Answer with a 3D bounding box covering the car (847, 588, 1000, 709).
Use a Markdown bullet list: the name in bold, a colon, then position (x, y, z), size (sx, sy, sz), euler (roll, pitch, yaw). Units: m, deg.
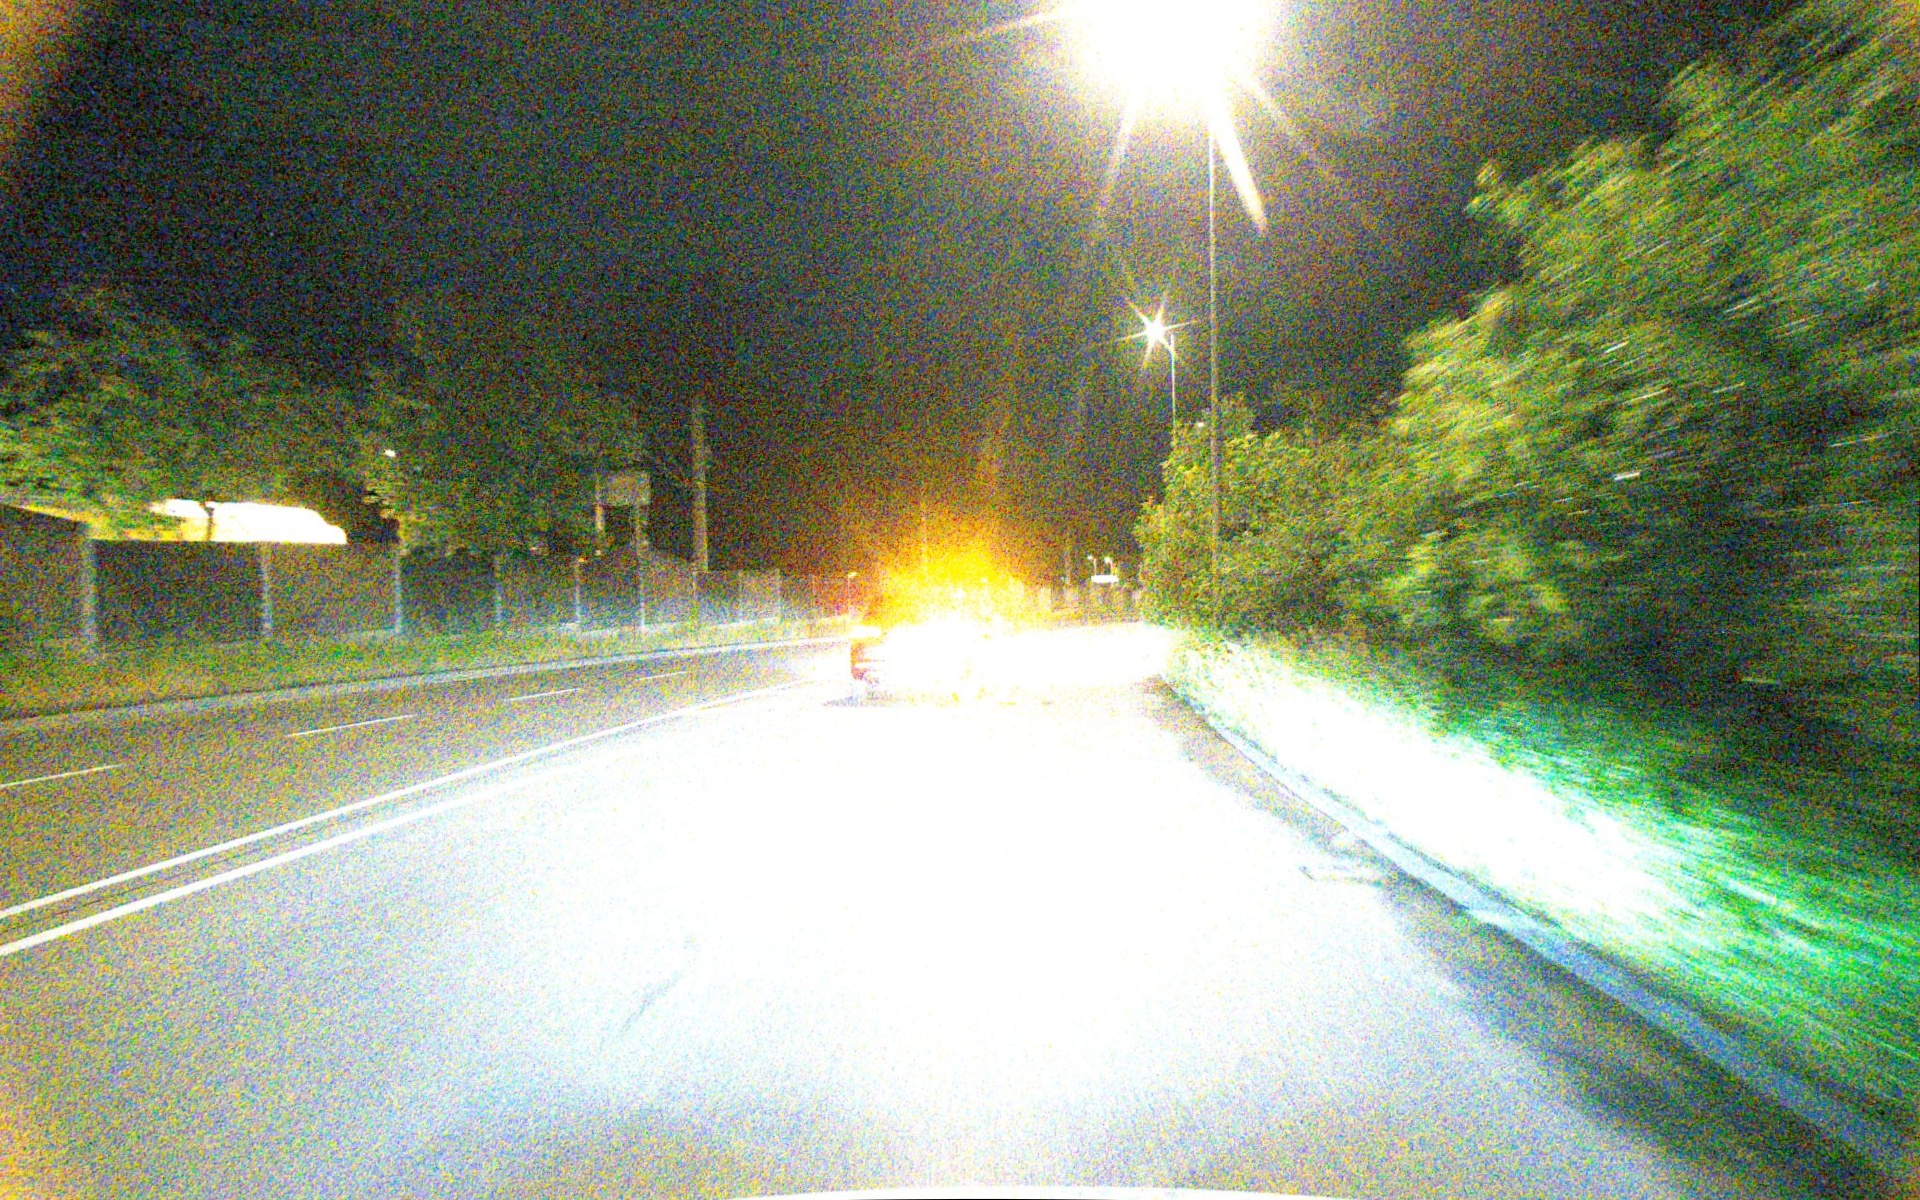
- **car**: position (-0.446, 0.641, 24.250), size (1.776, 1.601, 3.946), euler (1, 0, 5)
